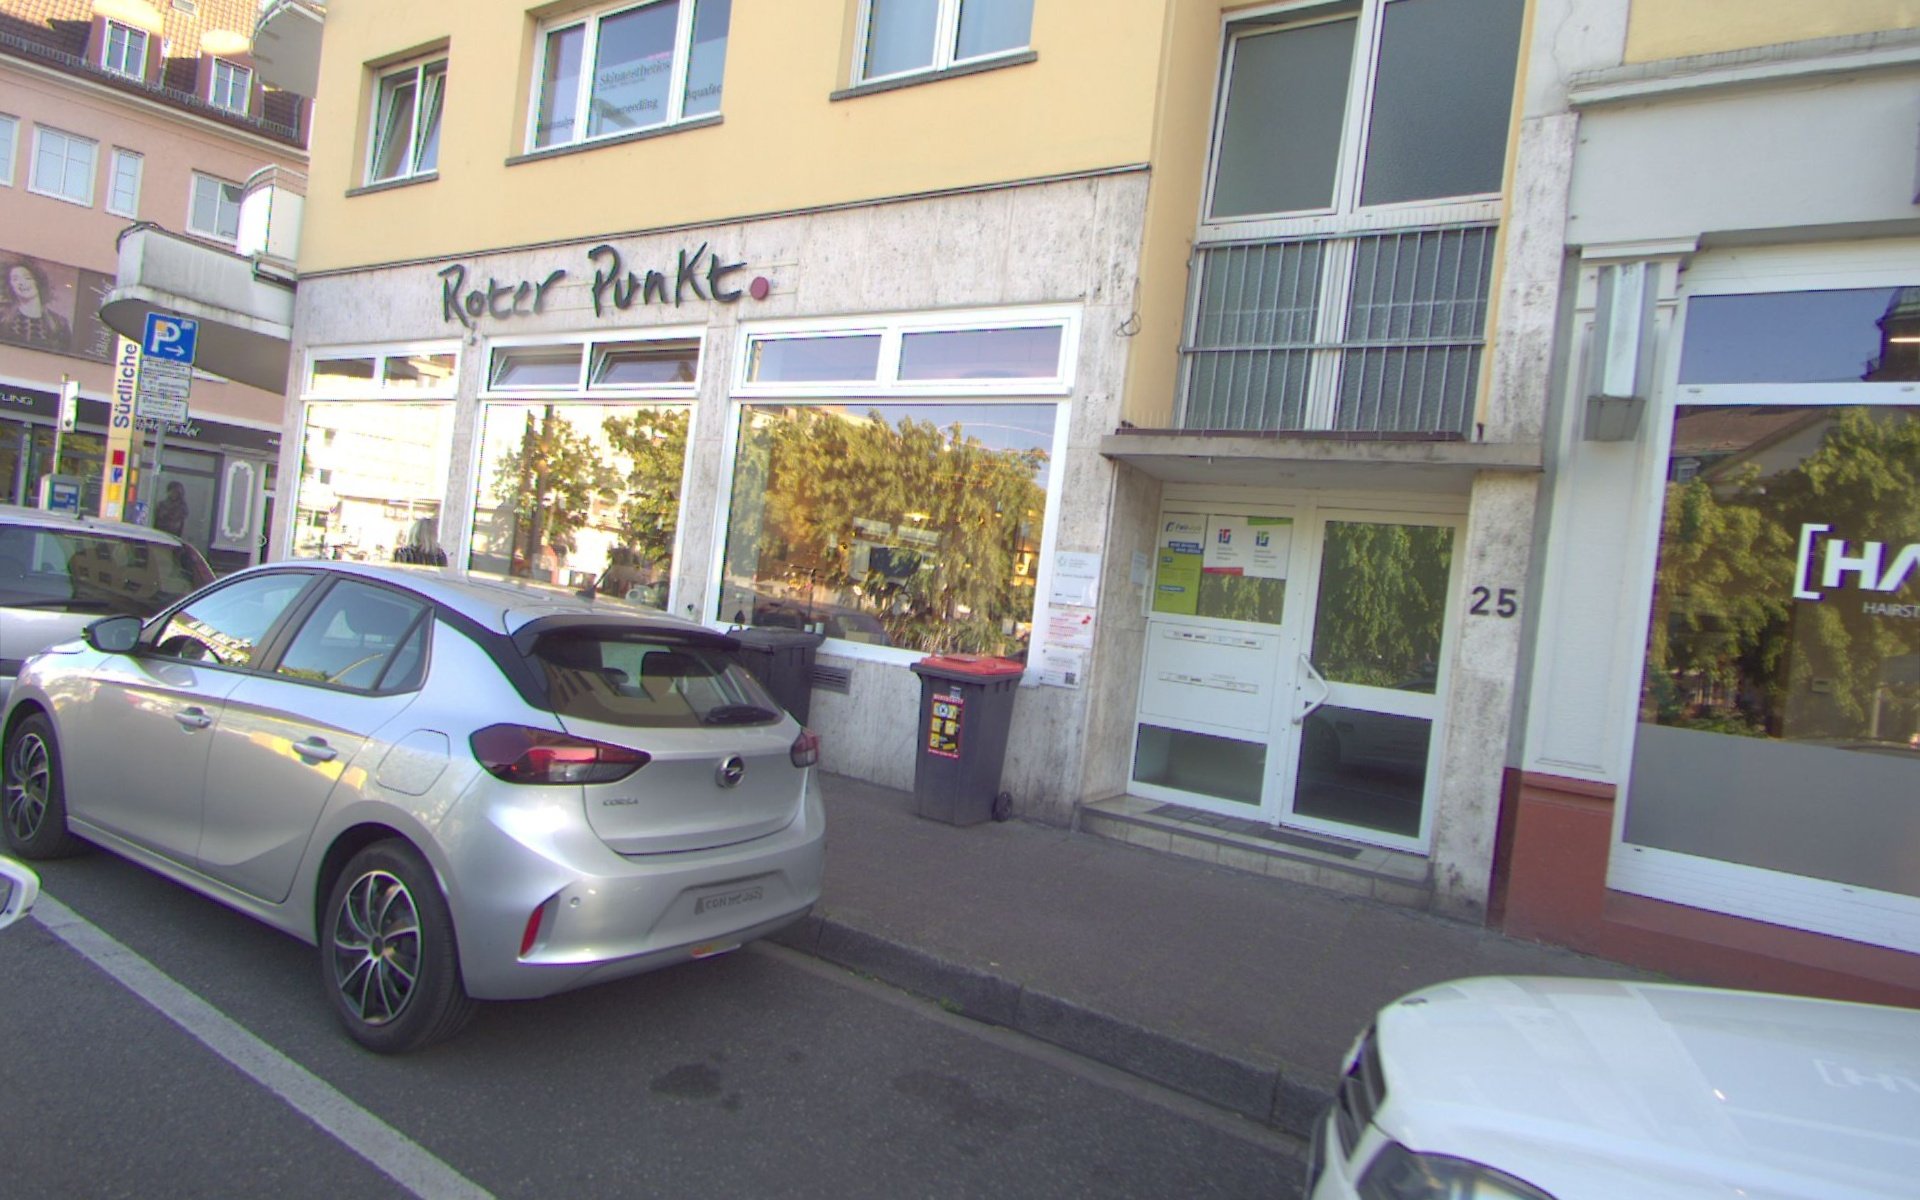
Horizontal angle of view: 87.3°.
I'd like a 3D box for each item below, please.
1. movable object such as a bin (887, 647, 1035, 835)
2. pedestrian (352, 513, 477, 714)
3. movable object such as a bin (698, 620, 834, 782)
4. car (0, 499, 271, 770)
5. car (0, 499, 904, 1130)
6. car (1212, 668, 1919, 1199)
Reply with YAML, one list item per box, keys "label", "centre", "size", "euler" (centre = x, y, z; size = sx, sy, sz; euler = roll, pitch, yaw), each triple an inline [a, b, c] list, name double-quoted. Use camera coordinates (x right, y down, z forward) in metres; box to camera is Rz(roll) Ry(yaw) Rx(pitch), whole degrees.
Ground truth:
- label: "movable object such as a bin"
  centre: [0.016, 0.887, 6.627]
  size: [0.609, 1.082, 0.703]
  euler: [7, 3, 31]
- label: "pedestrian"
  centre: [-4.771, 0.115, 8.806]
  size: [0.618, 1.654, 0.661]
  euler: [6, 2, 36]
- label: "movable object such as a bin"
  centre: [-1.449, 0.727, 7.543]
  size: [0.609, 1.082, 0.703]
  euler: [7, 3, 31]
- label: "car"
  centre: [-6.389, 0.036, 6.604]
  size: [3.822, 1.411, 1.624]
  euler: [7, -1, 33]
- label: "car"
  centre: [-2.443, 0.517, 4.314]
  size: [4.007, 1.444, 1.674]
  euler: [7, -1, 29]
- label: "car"
  centre: [2.712, 1.127, 1.210]
  size: [4.389, 1.464, 1.741]
  euler: [7, -1, 31]
